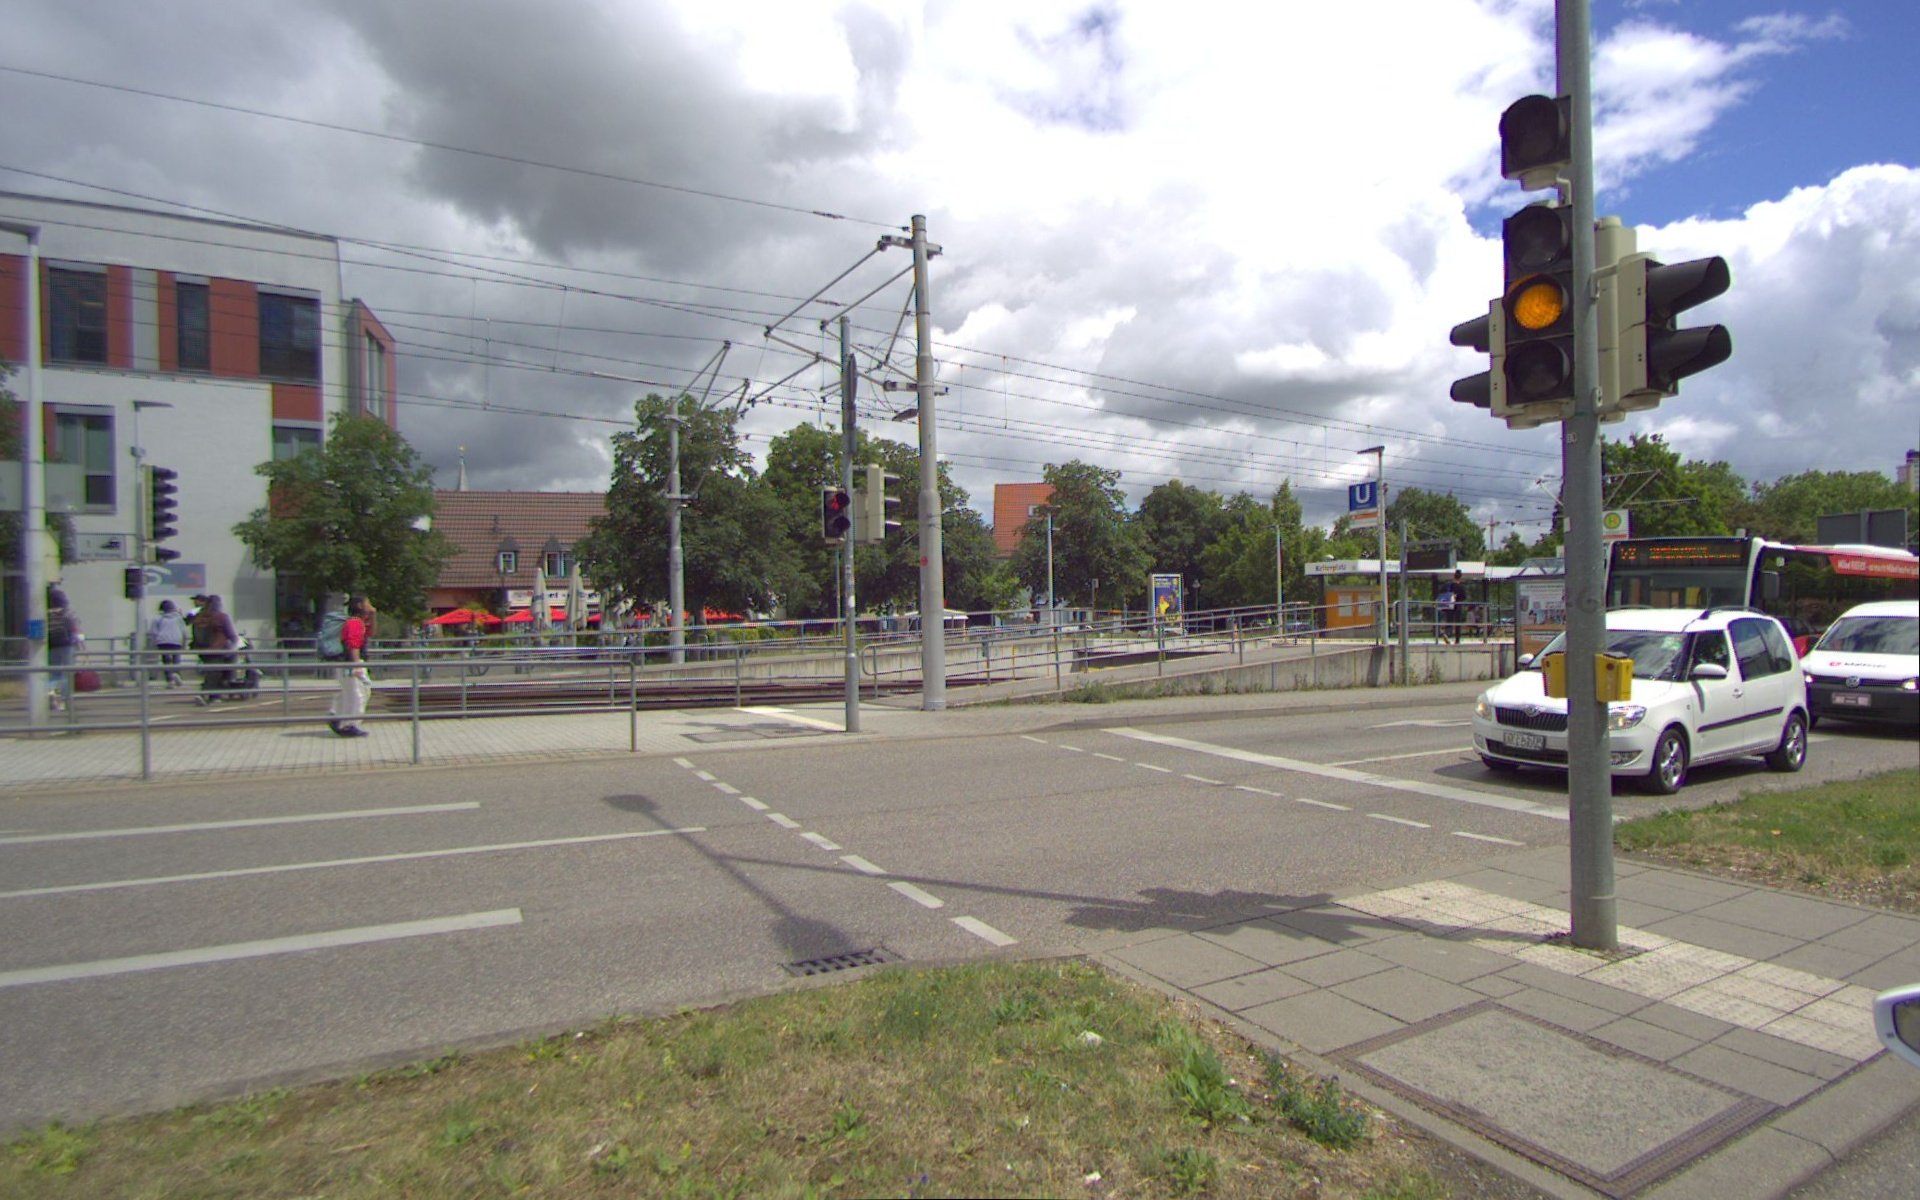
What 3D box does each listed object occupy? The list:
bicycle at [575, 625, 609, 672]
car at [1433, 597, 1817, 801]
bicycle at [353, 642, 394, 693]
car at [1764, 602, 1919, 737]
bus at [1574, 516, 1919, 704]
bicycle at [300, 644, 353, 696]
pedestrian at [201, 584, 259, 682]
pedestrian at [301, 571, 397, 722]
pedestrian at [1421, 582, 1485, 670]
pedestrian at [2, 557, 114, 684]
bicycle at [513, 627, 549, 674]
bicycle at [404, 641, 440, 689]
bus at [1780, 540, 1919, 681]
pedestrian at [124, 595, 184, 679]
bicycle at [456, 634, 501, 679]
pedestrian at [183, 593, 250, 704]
[{"bbox_3d":[-9.197,1.204,25.125,0.683,1.112,1.898,-2,-1,-18],"label":"bicycle"},{"bbox_3d":[6.687,0.834,9.993,4.033,1.671,1.690,1,-1,-32],"label":"car"},{"bbox_3d":[-13.584,1.543,23.284,0.685,1.112,1.892,1,-2,-27],"label":"bicycle"},{"bbox_3d":[13.527,0.942,14.385,4.456,1.684,1.752,2,-3,-32],"label":"car"},{"bbox_3d":[16.470,0.191,20.541,9.595,3.150,2.711,0,-1,-32],"label":"bus"},{"bbox_3d":[-14.376,1.570,22.835,0.684,1.112,1.895,0,-3,-23],"label":"bicycle"},{"bbox_3d":[-14.157,0.649,19.509,0.763,1.846,0.903,1,-2,-28],"label":"pedestrian"},{"bbox_3d":[-6.653,0.489,10.940,0.826,1.561,0.794,2,0,-33],"label":"pedestrian"},{"bbox_3d":[11.773,0.629,24.020,1.016,2.040,0.967,1,-2,-29],"label":"pedestrian"},{"bbox_3d":[-12.332,0.292,13.766,0.909,1.658,0.858,1,-2,-28],"label":"pedestrian"},{"bbox_3d":[-10.495,1.214,24.610,0.599,1.112,1.898,0,-2,-17],"label":"bicycle"},{"bbox_3d":[-12.786,1.524,23.868,0.686,1.077,1.890,2,-2,-30],"label":"bicycle"},{"bbox_3d":[24.237,0.301,25.429,8.863,3.110,2.711,1,-1,-32],"label":"bus"},{"bbox_3d":[-17.163,0.786,21.401,0.660,1.757,0.832,-1,-2,38],"label":"pedestrian"},{"bbox_3d":[-11.675,1.350,24.420,0.683,1.042,1.898,1,-2,-17],"label":"bicycle"},{"bbox_3d":[-11.181,0.725,15.134,0.634,1.617,0.829,2,-2,-27],"label":"pedestrian"}]
